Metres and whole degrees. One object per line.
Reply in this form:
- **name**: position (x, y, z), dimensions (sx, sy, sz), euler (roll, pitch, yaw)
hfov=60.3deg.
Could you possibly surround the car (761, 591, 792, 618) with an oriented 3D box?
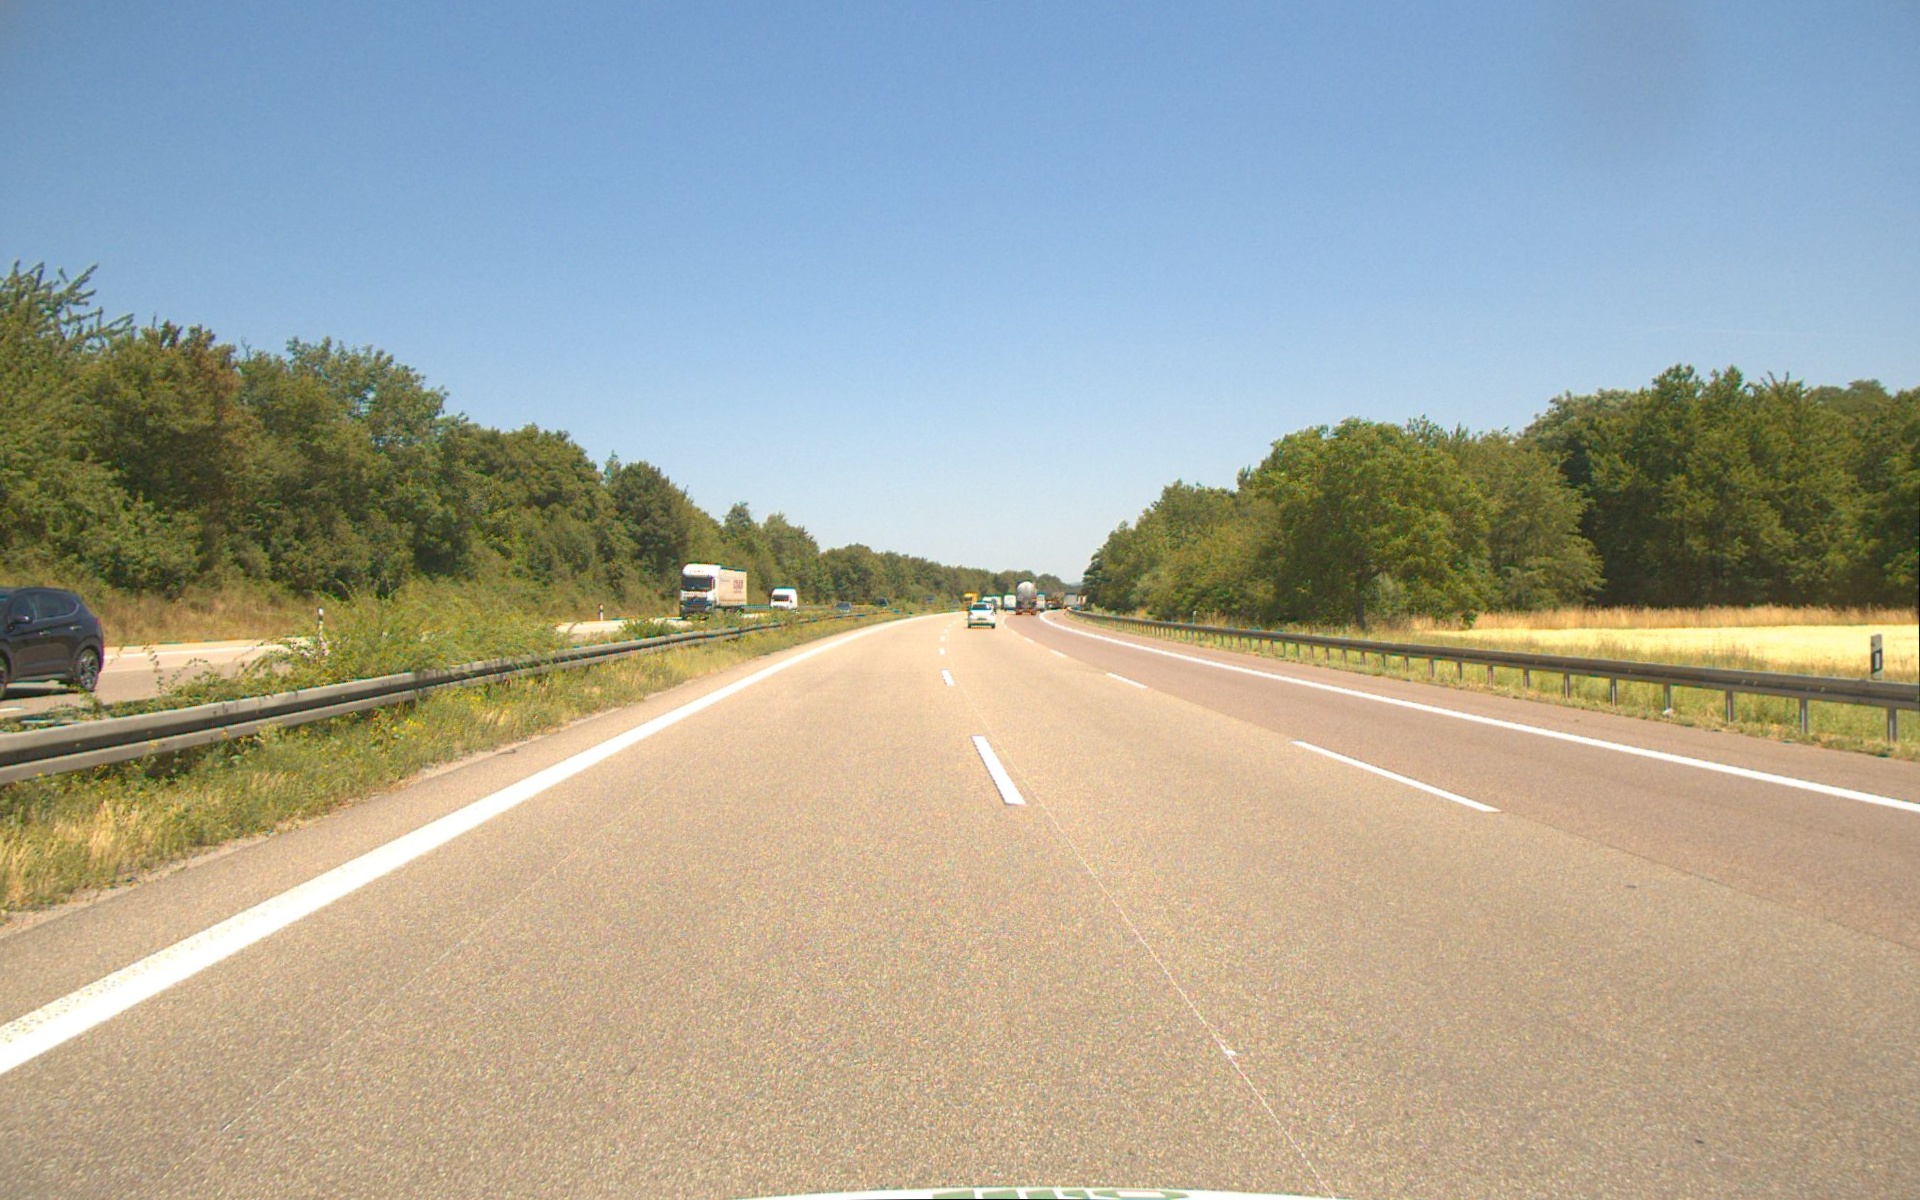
- **car**: position (-18.255, 0.445, 164.712), dimensions (2.183, 2.622, 7.392), euler (-1, 0, 1)

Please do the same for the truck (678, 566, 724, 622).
- **truck**: position (-19.098, -0.457, 122.142), dimensions (2.646, 4.035, 4.443), euler (0, 0, 0)

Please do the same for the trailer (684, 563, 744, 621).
- **trailer**: position (-19.095, -0.576, 129.234), dimensions (2.650, 4.257, 13.558), euler (0, 0, 0)

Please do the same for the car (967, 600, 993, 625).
- **car**: position (1.212, 0.787, 101.382), dimensions (1.594, 1.505, 4.000), euler (0, 0, 0)

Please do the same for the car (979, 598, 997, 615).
- **car**: position (3.439, 0.782, 204.515), dimensions (1.951, 2.049, 4.002), euler (-1, 0, 4)

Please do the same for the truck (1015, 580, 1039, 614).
- **truck**: position (8.190, -0.296, 203.316), dimensions (2.682, 4.123, 10.455), euler (0, 0, 1)

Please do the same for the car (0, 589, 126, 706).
- **car**: position (-14.573, 0.677, 24.977), dimensions (1.789, 1.660, 4.557), euler (0, 0, -2)
